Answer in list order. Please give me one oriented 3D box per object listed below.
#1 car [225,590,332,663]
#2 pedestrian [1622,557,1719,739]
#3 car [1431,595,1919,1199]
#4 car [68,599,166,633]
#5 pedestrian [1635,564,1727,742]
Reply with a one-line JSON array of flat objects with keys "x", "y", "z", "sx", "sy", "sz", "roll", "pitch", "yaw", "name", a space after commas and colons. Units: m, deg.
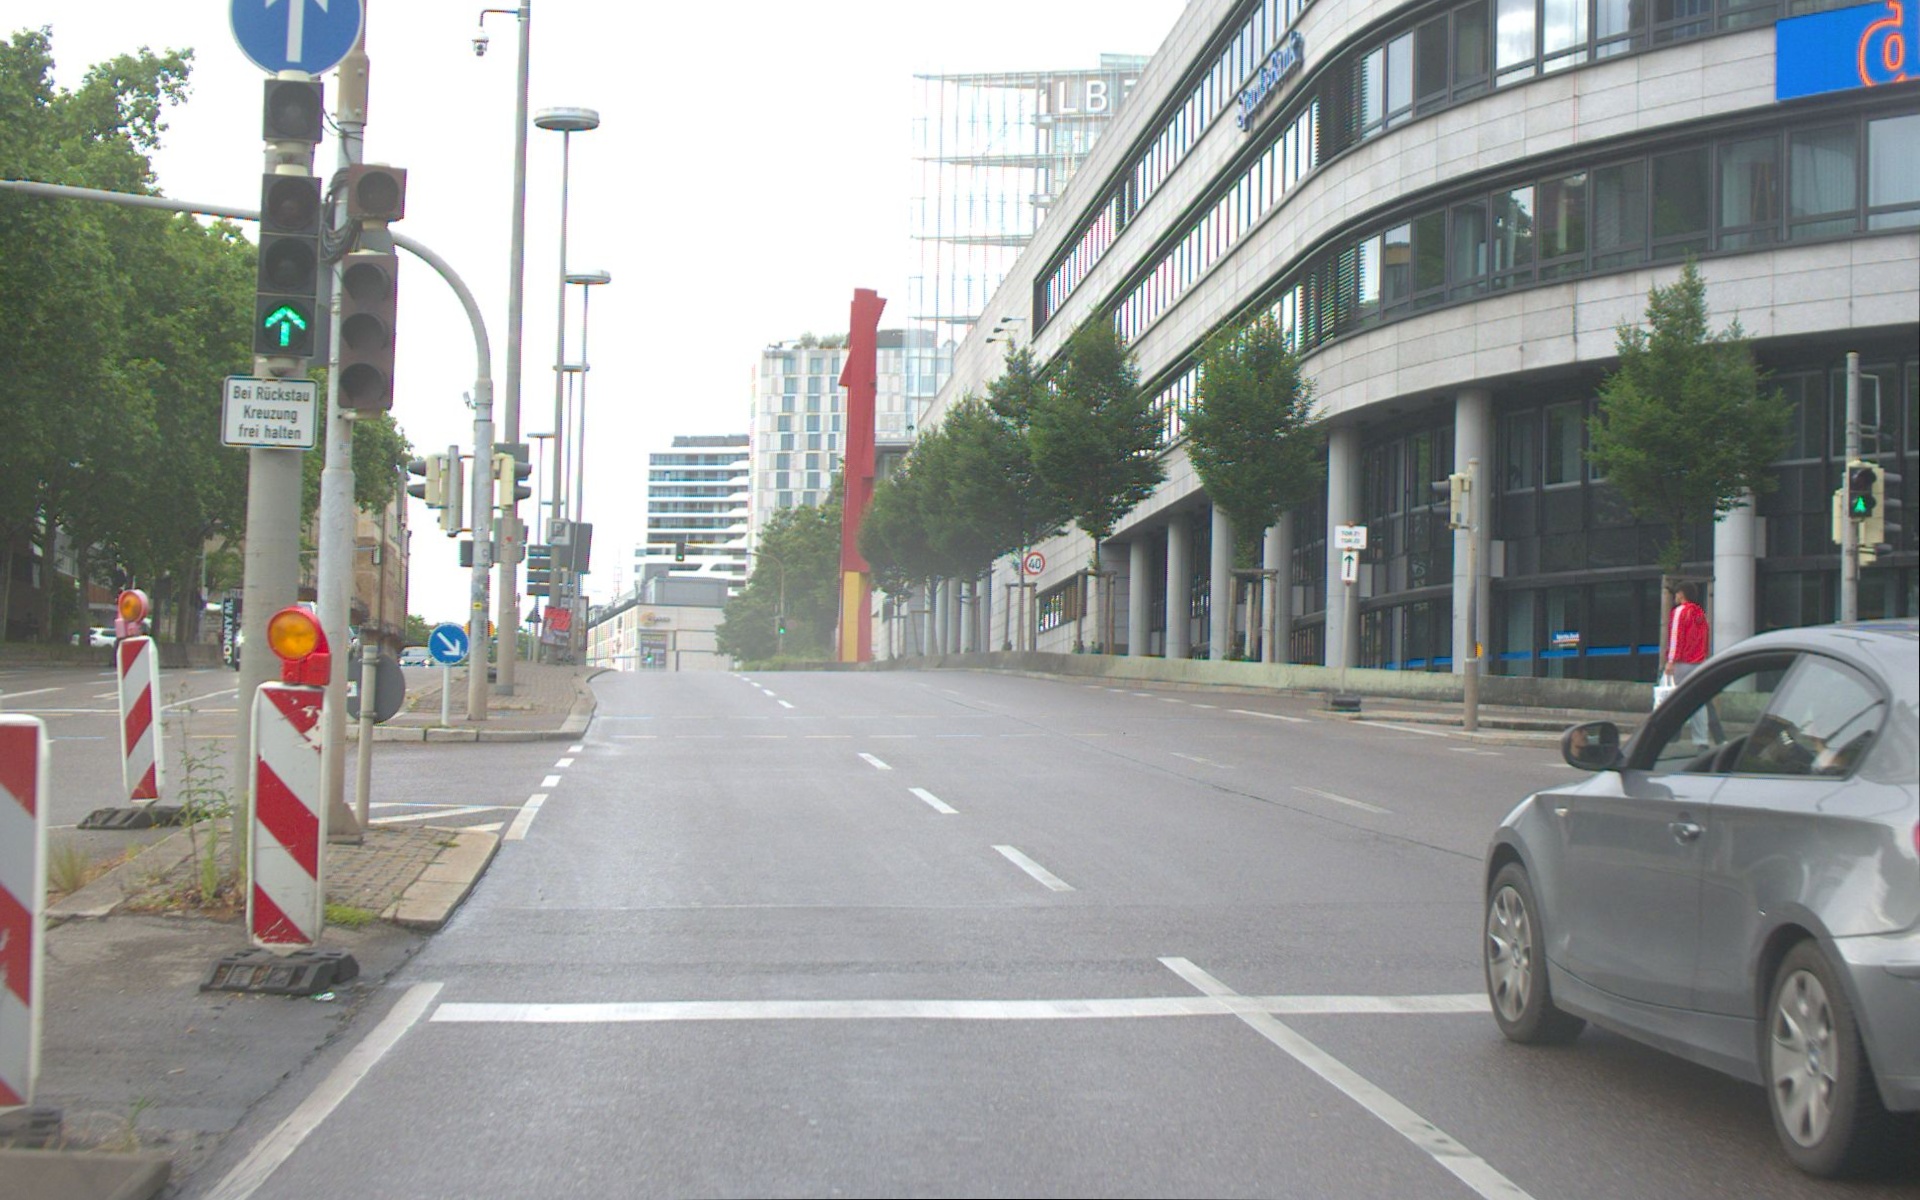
[{"x": -14.391, "y": 0.535, "z": 72.775, "sx": 1.760, "sy": 1.456, "sz": 4.360, "roll": 0, "pitch": 1, "yaw": -5, "name": "car"}, {"x": 7.527, "y": 0.514, "z": 36.401, "sx": 0.841, "sy": 1.898, "sz": 0.860, "roll": 0, "pitch": -2, "yaw": 22, "name": "pedestrian"}, {"x": 2.741, "y": 0.728, "z": 9.886, "sx": 1.739, "sy": 1.438, "sz": 4.001, "roll": 1, "pitch": 0, "yaw": -7, "name": "car"}, {"x": -40.416, "y": 0.794, "z": 164.944, "sx": 1.823, "sy": 1.506, "sz": 4.569, "roll": -2, "pitch": -2, "yaw": 33, "name": "car"}, {"x": 7.804, "y": 0.573, "z": 37.205, "sx": 0.841, "sy": 1.898, "sz": 0.731, "roll": 0, "pitch": -1, "yaw": 22, "name": "pedestrian"}]
